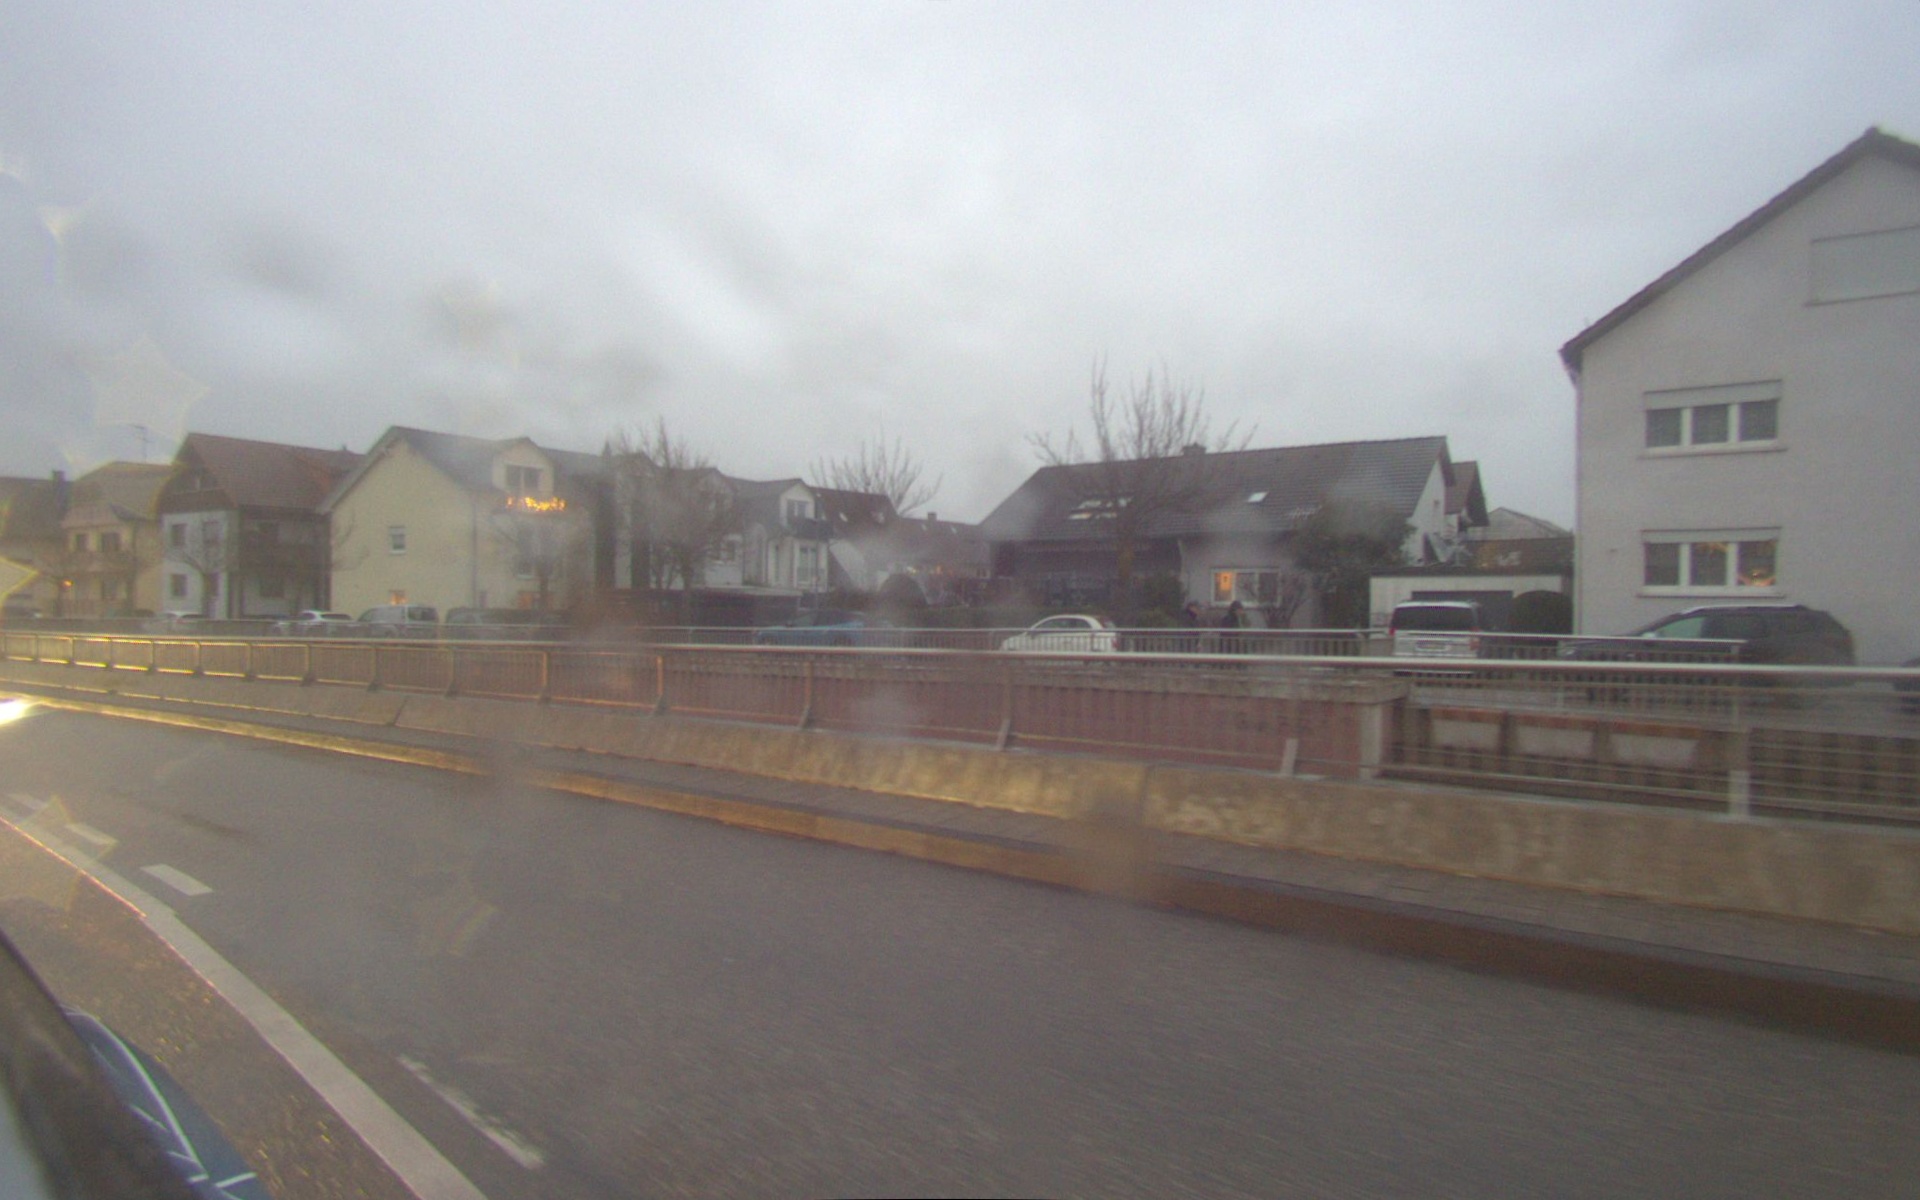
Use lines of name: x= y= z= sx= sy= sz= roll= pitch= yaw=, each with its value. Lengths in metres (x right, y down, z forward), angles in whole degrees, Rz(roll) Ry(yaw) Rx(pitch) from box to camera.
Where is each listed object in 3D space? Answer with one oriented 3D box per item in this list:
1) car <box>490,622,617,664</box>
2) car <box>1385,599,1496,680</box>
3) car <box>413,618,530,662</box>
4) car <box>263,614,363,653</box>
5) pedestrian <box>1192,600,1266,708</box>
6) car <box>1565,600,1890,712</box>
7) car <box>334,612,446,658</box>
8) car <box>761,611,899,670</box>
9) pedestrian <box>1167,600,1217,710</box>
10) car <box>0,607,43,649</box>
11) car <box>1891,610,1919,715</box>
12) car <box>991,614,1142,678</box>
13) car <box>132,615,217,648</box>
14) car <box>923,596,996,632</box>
car: x=-14.604 y=1.533 z=36.290 sx=4.483 sy=1.444 sz=1.861 roll=-1 pitch=-3 yaw=30
car: x=11.174 y=0.903 z=23.388 sx=1.858 sy=1.707 sz=3.956 roll=-1 pitch=-2 yaw=32
car: x=-18.820 y=1.530 z=38.925 sx=4.483 sy=1.584 sz=1.861 roll=-1 pitch=-3 yaw=30
car: x=-28.318 y=1.468 z=44.258 sx=4.205 sy=1.610 sz=1.862 roll=-1 pitch=-3 yaw=28
pedestrian: x=4.707 y=0.914 z=17.685 sx=0.971 sy=1.798 sz=0.919 roll=-1 pitch=0 yaw=36
car: x=12.891 y=0.901 z=17.342 sx=4.207 sy=1.695 sz=1.894 roll=-1 pitch=-1 yaw=35
car: x=-23.346 y=1.445 z=41.413 sx=4.480 sy=1.792 sz=1.862 roll=-1 pitch=-3 yaw=28
car: x=-3.789 y=1.146 z=29.341 sx=3.806 sy=1.592 sz=1.554 roll=0 pitch=-2 yaw=30
pedestrian: x=3.711 y=0.861 z=16.156 sx=0.540 sy=1.710 sz=0.657 roll=-1 pitch=0 yaw=36
car: x=-44.012 y=1.238 z=46.168 sx=3.836 sy=1.817 sz=1.791 roll=0 pitch=-1 yaw=23
car: x=16.480 y=0.905 z=14.655 sx=4.211 sy=1.574 sz=1.892 roll=-1 pitch=-1 yaw=38
car: x=2.590 y=1.090 z=24.923 sx=3.451 sy=1.438 sz=1.470 roll=0 pitch=0 yaw=35
car: x=-38.537 y=1.516 z=49.644 sx=4.011 sy=1.535 sz=1.758 roll=0 pitch=-1 yaw=27
car: x=-0.030 y=0.815 z=60.658 sx=3.982 sy=2.029 sz=1.981 roll=0 pitch=1 yaw=29
